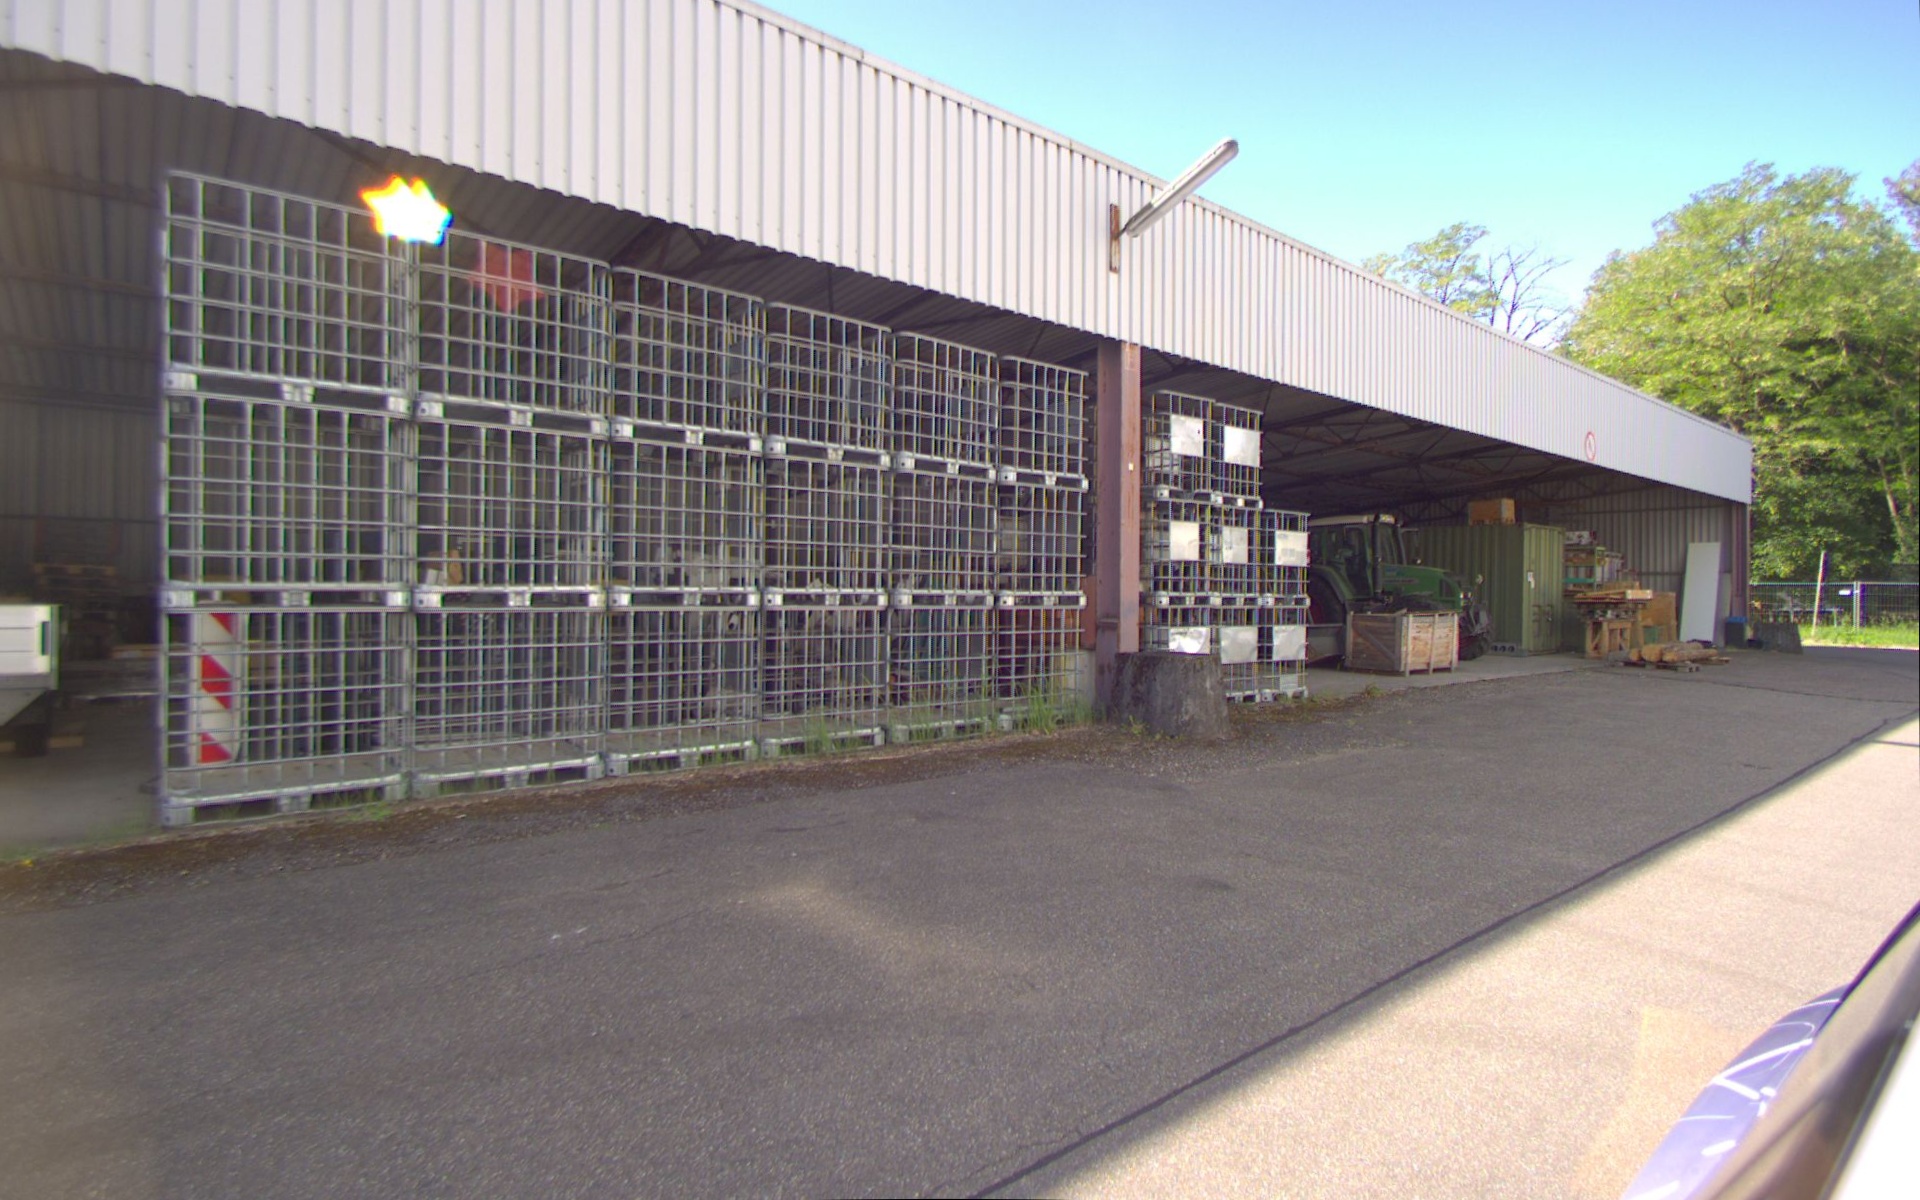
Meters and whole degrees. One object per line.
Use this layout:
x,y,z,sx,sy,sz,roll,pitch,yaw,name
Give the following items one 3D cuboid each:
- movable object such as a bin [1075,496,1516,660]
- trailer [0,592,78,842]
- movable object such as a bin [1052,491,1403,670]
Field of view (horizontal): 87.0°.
6.984,-0.437,22.765,3.154,2.947,9.213,0,0,-39,movable object such as a bin
-7.155,0.553,6.589,2.104,1.147,5.857,0,1,-41,trailer
5.043,-0.353,20.019,2.962,2.947,6.199,0,0,-39,movable object such as a bin
